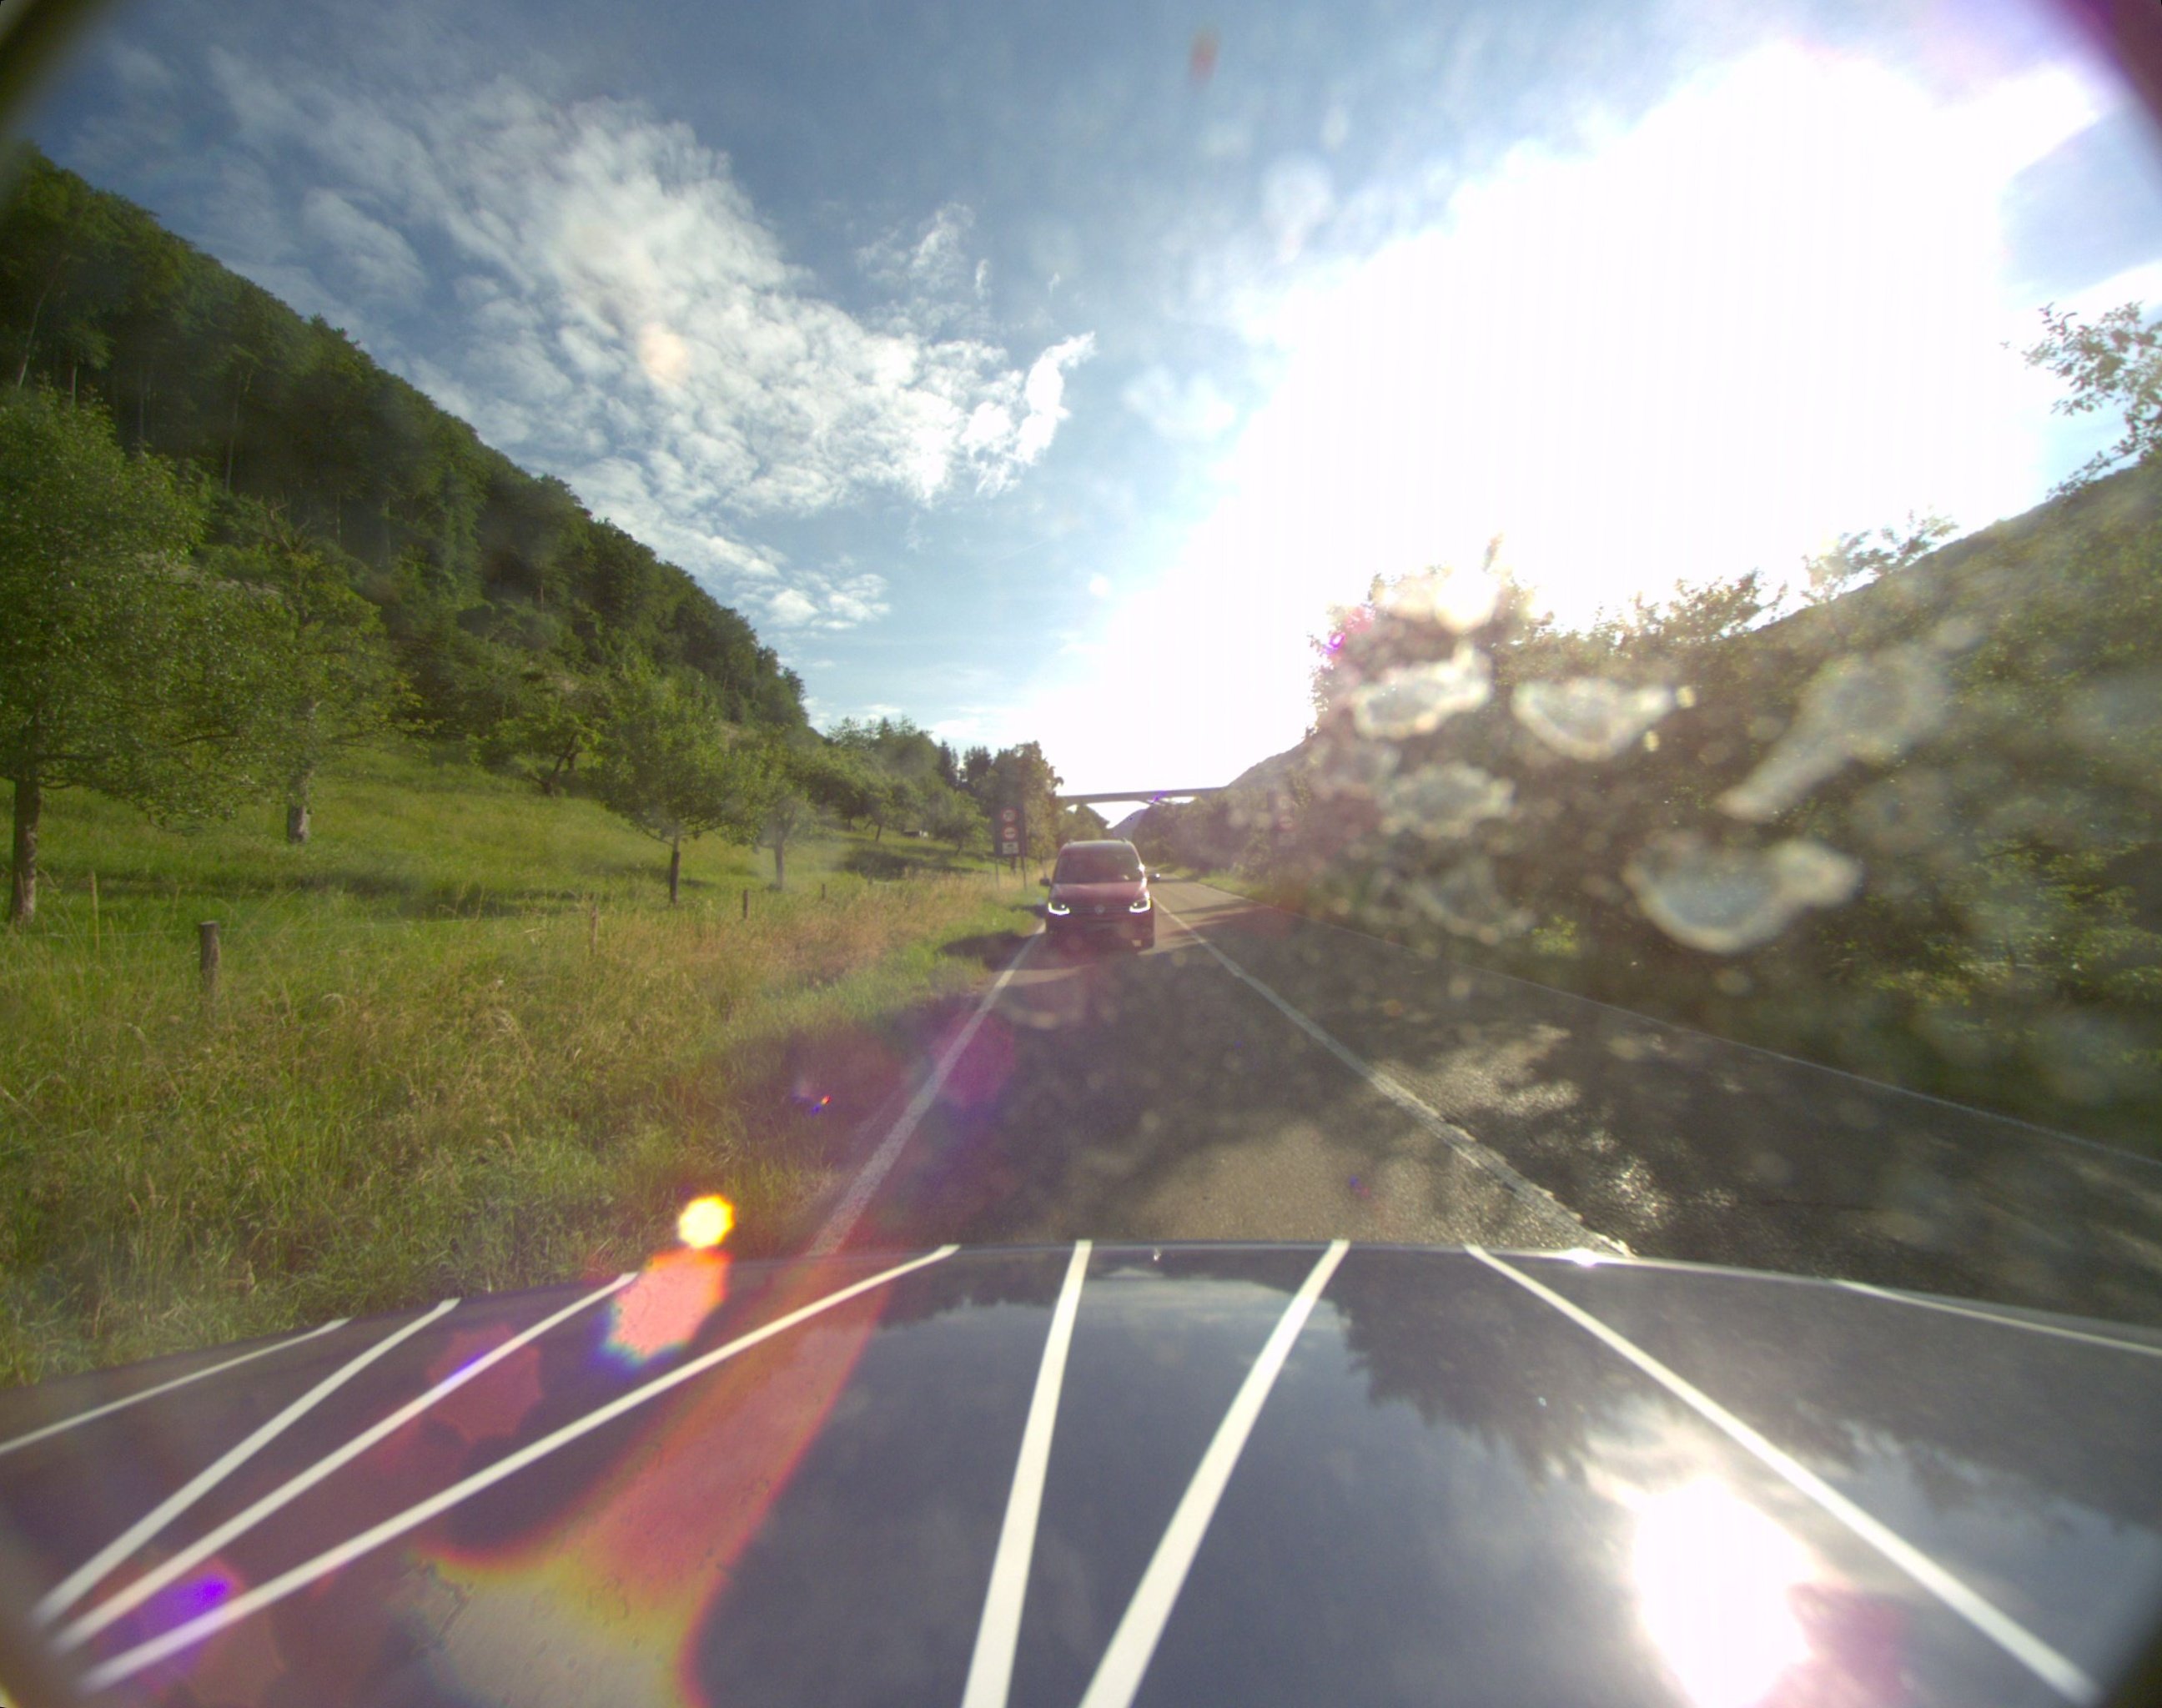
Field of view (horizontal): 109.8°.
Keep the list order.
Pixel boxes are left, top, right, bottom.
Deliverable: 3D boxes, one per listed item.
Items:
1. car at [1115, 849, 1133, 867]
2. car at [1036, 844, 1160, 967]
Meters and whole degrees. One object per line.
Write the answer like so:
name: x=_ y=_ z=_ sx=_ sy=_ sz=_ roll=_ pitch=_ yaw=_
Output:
car: x=4.426 y=0.377 z=78.222 sx=1.759 sy=1.745 sz=4.000 roll=-2 pitch=1 yaw=3
car: x=0.368 y=0.737 z=13.351 sx=1.759 sy=1.745 sz=4.430 roll=-2 pitch=1 yaw=3
